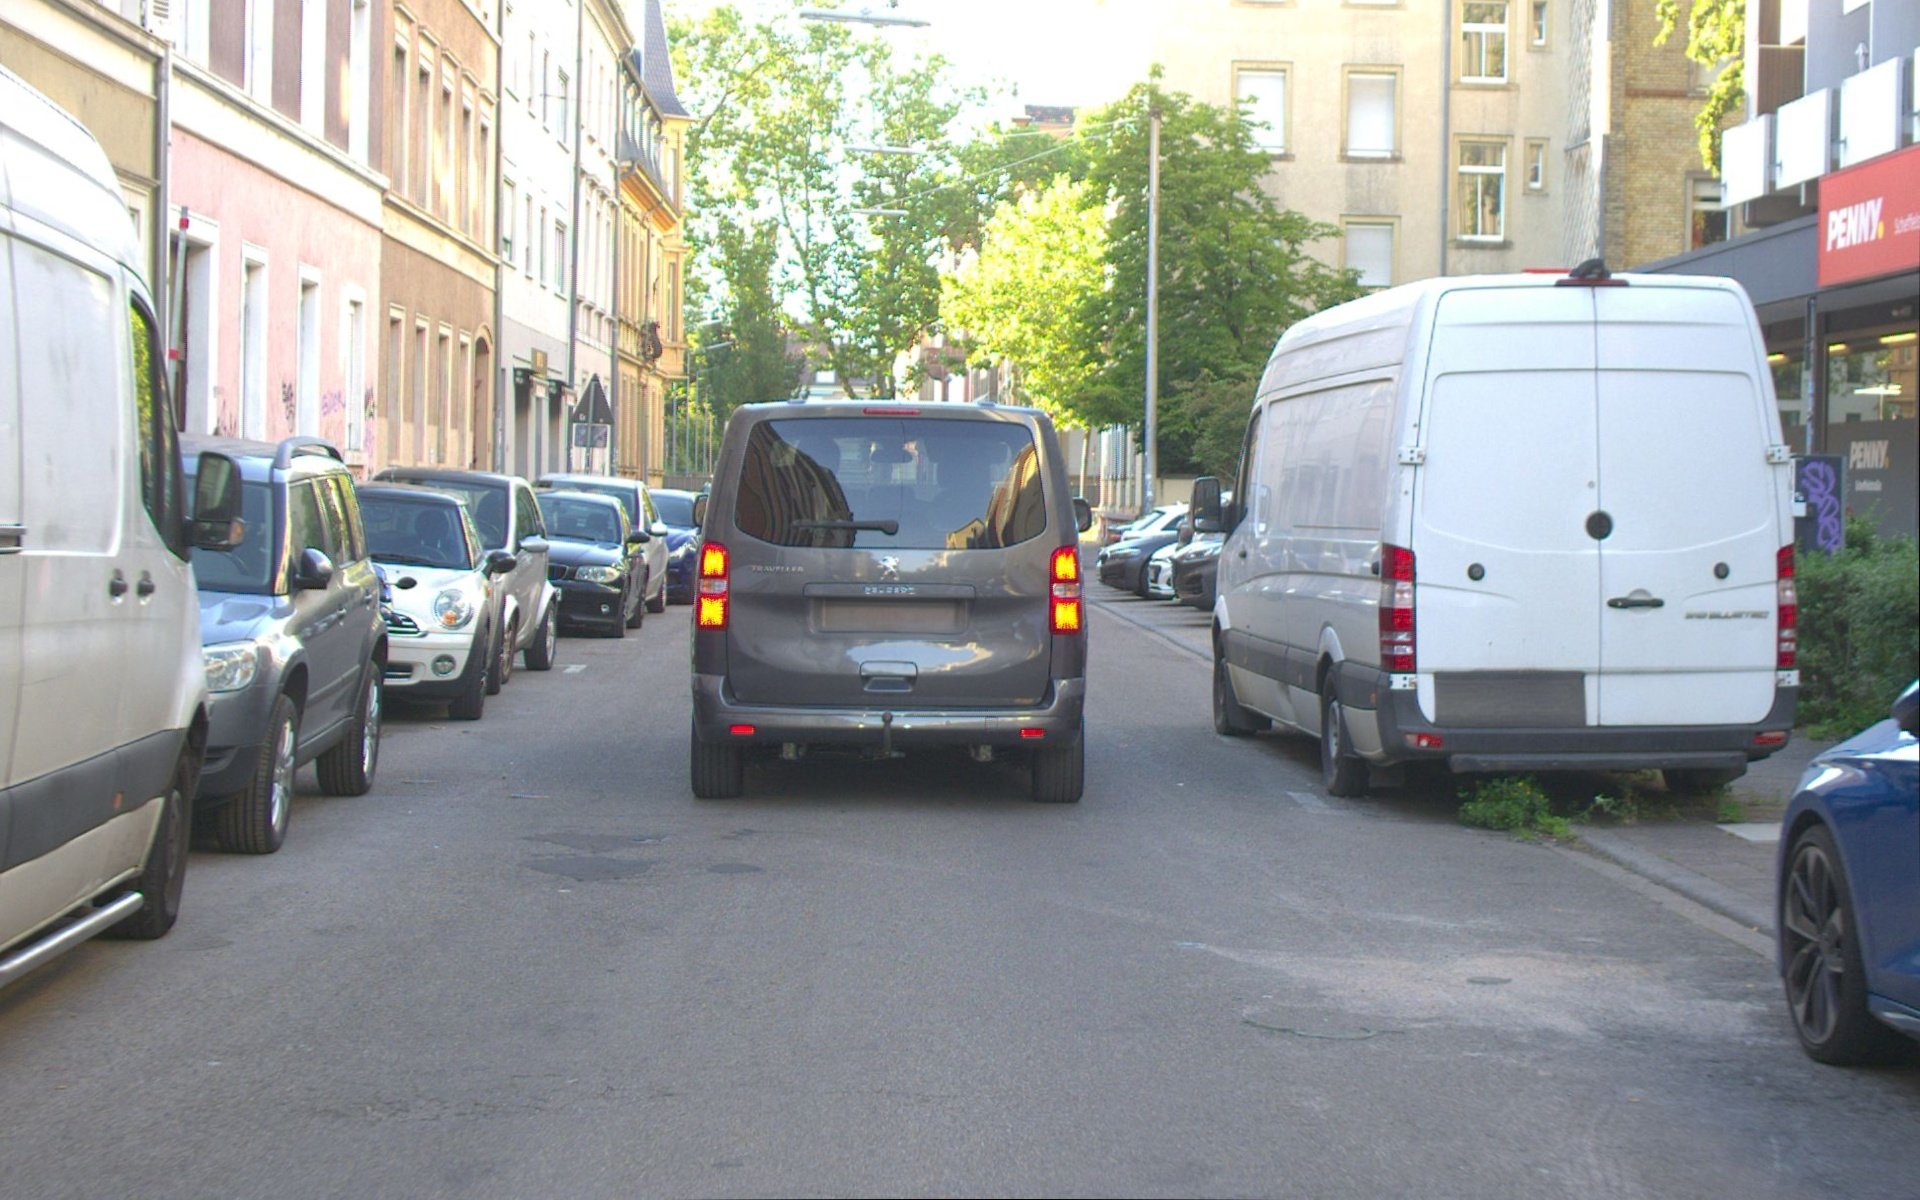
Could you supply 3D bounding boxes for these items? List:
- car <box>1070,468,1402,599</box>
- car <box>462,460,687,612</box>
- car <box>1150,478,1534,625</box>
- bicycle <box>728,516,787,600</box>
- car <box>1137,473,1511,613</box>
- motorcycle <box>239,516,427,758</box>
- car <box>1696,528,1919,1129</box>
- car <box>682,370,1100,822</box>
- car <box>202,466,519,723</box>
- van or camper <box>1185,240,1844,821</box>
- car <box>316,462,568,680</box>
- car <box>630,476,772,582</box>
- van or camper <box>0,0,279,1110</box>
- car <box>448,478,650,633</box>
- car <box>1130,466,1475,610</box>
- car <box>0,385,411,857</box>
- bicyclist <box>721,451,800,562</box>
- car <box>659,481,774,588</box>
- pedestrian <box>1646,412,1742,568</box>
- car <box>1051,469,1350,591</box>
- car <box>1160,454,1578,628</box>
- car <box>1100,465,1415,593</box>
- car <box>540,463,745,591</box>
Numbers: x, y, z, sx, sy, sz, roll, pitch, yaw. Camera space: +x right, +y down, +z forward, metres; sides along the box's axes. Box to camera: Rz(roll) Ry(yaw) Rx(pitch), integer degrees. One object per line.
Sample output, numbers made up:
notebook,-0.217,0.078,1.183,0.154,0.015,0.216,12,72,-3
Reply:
car,4.097,-1.003,51.494,4.568,1.785,2.001,2,2,-8
car,-4.404,-0.787,39.928,1.993,1.599,4.585,2,2,1
car,4.764,-0.619,43.229,4.454,1.670,1.798,2,2,-6
bicycle,-2.870,-0.607,48.913,0.621,1.134,2.257,1,2,2
car,4.820,-0.773,45.914,4.568,1.699,2.001,2,2,-8
motorcycle,-3.504,0.165,19.392,0.710,1.230,2.476,1,2,-3
car,3.131,0.558,7.996,1.722,1.383,4.296,0,2,-3
car,-0.389,-0.098,17.394,1.857,2.006,4.001,-1,2,-2
car,-3.850,-0.105,22.597,1.710,1.492,3.856,2,2,-5
van or camper,2.733,-0.440,19.166,2.099,2.593,7.514,0,2,-3
car,-3.891,-0.256,26.144,1.386,1.526,2.749,2,2,2
car,-4.171,-1.184,55.429,2.144,1.555,4.586,2,2,-4
van or camper,-3.247,-0.169,8.797,1.949,2.640,7.143,0,2,-3
car,-4.123,-0.505,35.025,1.788,1.392,4.468,2,2,-4
car,4.798,-0.890,48.541,4.472,1.852,1.885,2,2,-8
car,-3.614,-0.013,15.026,1.863,1.744,4.294,2,2,-2
bicyclist,-2.842,-1.343,49.125,1.034,1.572,0.833,1,2,3
car,-4.539,-1.252,64.039,1.993,1.852,4.586,2,2,-4
pedestrian,9.300,-1.395,43.533,1.087,1.938,0.871,1,2,17
car,3.949,-1.168,56.854,4.568,1.852,2.001,2,2,-8
car,4.751,-0.710,40.456,4.569,1.852,2.000,2,2,-2
car,4.676,-1.136,54.435,4.568,1.852,2.001,2,2,-8
car,-4.169,-1.000,45.830,1.994,1.555,4.585,2,2,4
